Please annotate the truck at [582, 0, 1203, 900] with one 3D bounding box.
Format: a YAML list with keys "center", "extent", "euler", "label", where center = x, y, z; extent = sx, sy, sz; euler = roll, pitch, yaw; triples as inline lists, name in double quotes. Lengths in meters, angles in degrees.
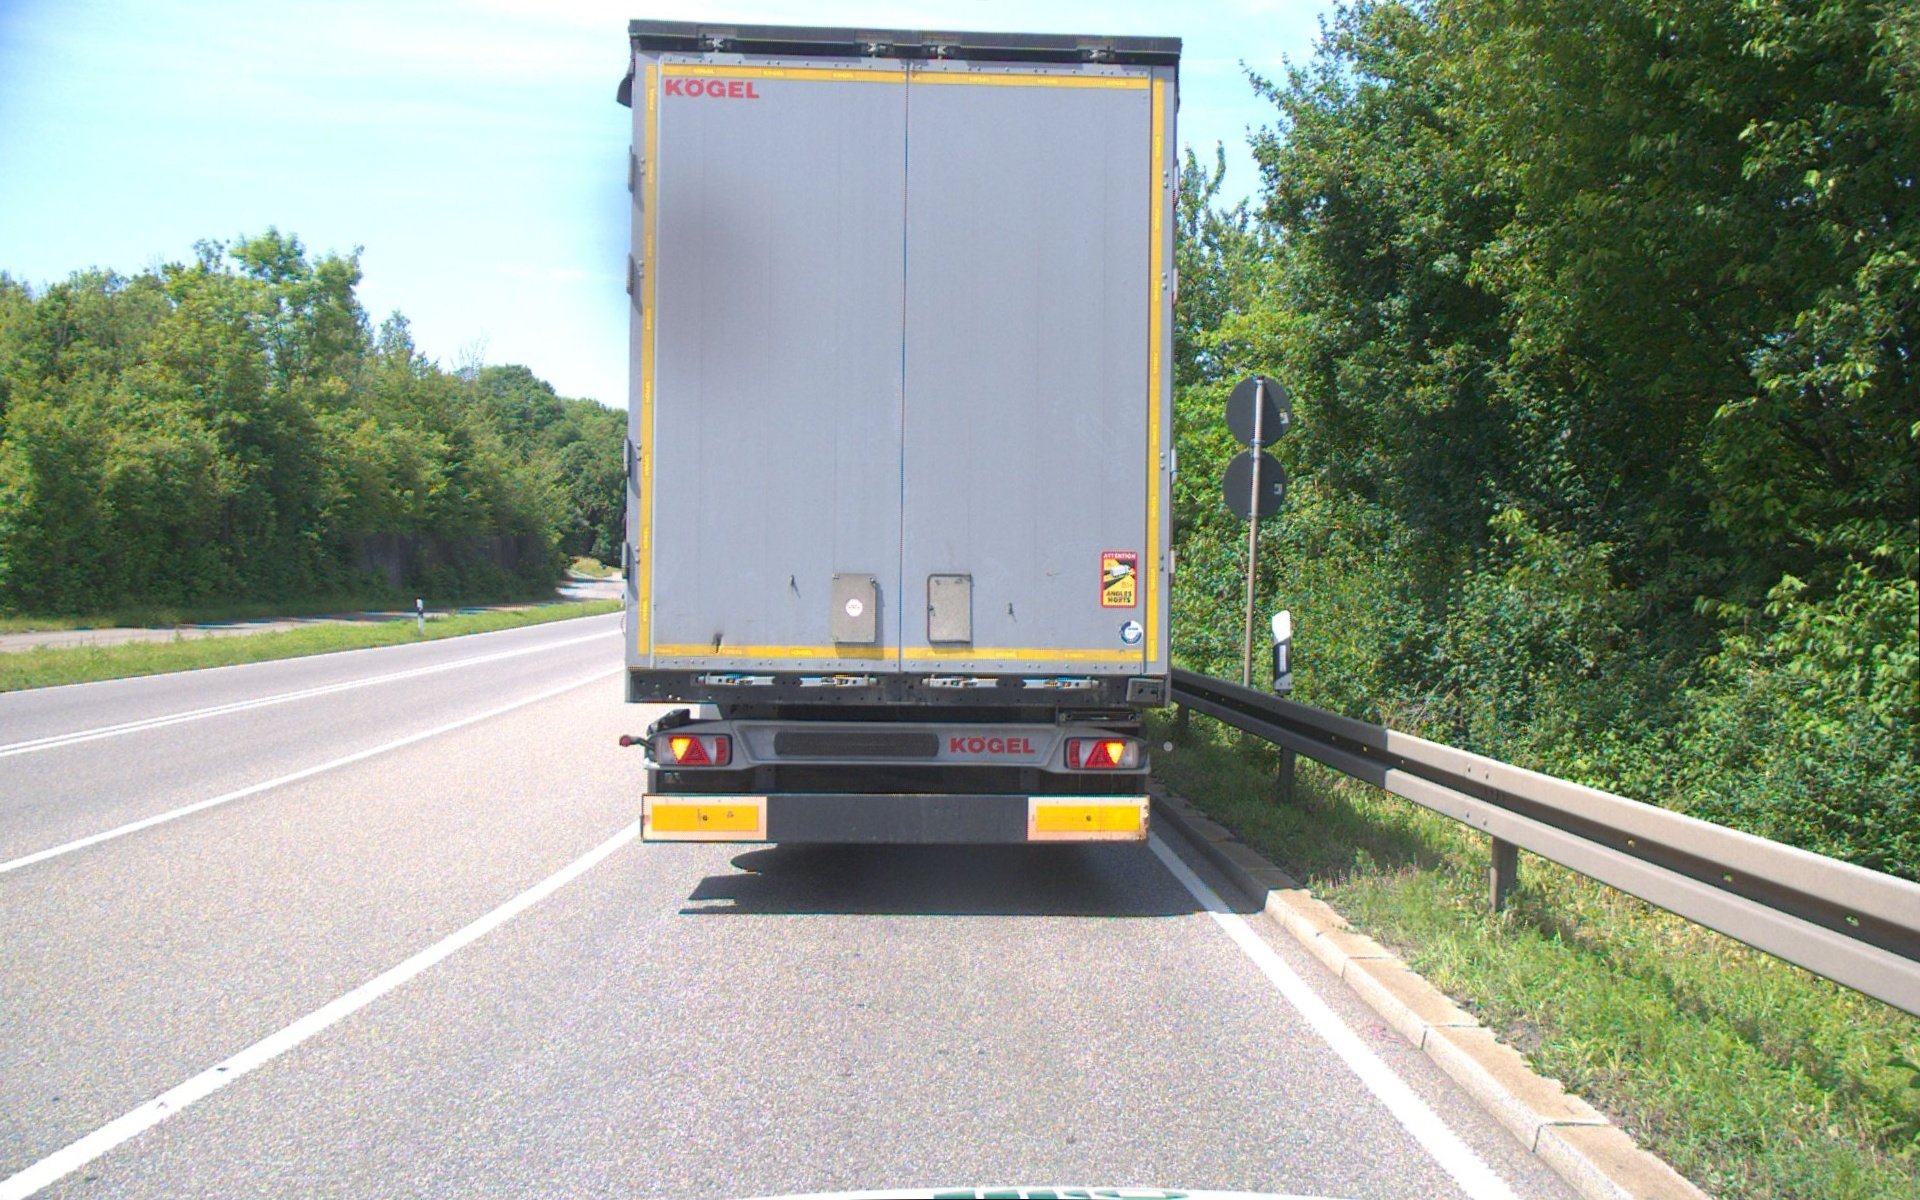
- center: [-0.445, -0.776, 13.258]
  extent: [2.701, 4.100, 11.920]
  euler: [1, 0, -2]
  label: "truck"
